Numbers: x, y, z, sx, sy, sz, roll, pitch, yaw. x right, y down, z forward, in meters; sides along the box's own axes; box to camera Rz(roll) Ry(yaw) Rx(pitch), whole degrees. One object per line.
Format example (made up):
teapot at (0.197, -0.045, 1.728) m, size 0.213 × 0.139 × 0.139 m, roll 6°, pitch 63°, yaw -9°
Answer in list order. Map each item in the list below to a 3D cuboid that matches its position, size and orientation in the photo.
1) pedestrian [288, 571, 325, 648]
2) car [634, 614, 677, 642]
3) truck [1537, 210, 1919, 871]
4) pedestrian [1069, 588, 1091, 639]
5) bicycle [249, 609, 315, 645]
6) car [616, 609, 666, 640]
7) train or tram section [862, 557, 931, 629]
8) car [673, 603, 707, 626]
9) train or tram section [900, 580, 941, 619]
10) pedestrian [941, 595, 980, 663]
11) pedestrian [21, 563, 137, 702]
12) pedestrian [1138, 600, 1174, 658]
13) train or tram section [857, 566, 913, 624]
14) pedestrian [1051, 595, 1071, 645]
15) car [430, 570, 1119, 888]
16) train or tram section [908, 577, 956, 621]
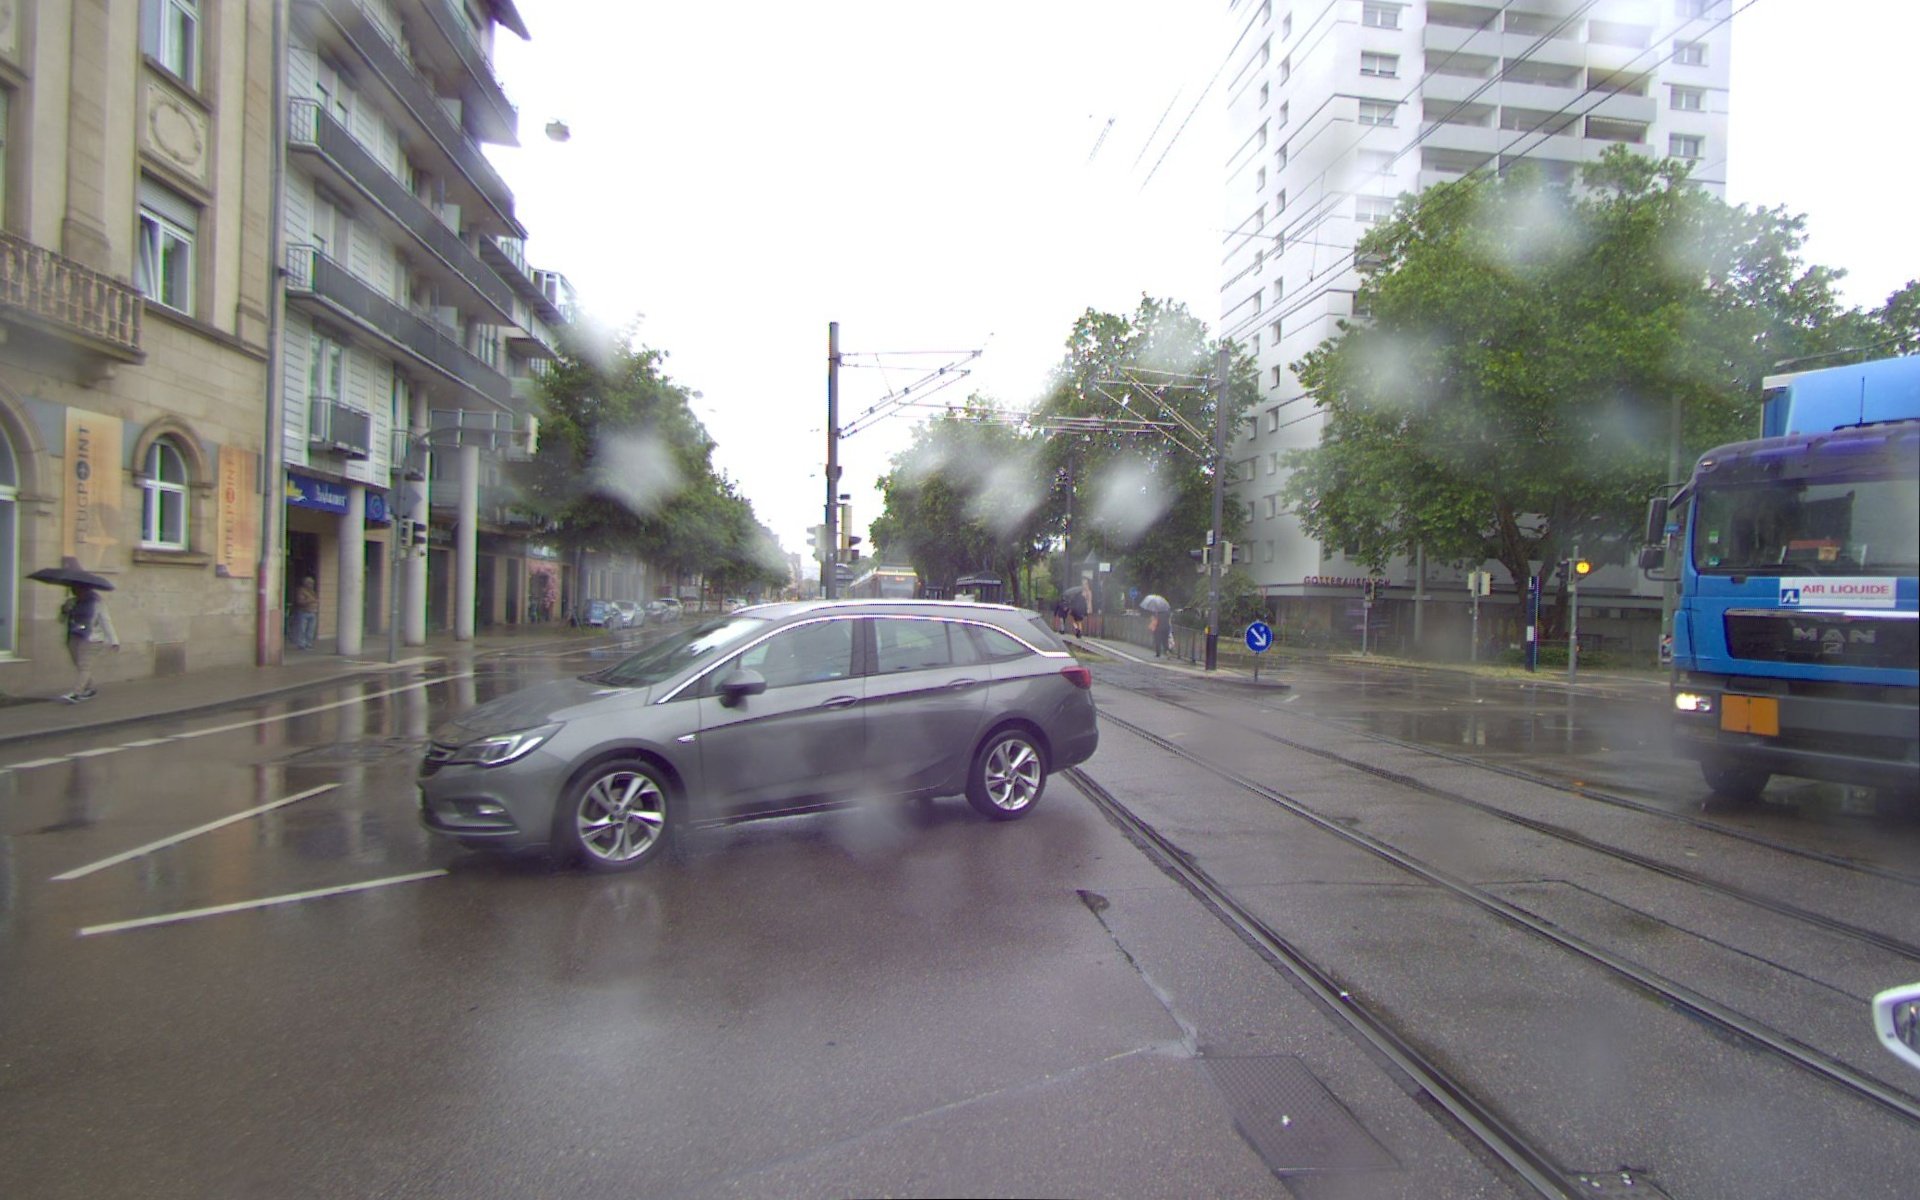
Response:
pedestrian at (-15.710, 0.233, 24.163) m, size 0.490 × 1.804 × 0.611 m, roll 2°, pitch 0°, yaw -7°
car at (-17.606, 1.591, 58.260) m, size 1.792 × 1.439 × 3.994 m, roll 2°, pitch 0°, yaw -9°
truck at (9.739, -0.217, 9.697) m, size 10.205 × 4.079 × 2.829 m, roll 2°, pitch -1°, yaw -33°
pedestrian at (4.455, 0.494, 37.307) m, size 0.628 × 1.863 × 0.678 m, roll 1°, pitch -1°, yaw -9°
bicycle at (-17.730, 0.694, 26.304) m, size 0.570 × 0.878 × 1.926 m, roll 2°, pitch 0°, yaw -6°
car at (-16.406, 1.230, 51.828) m, size 1.792 × 1.439 × 3.994 m, roll 2°, pitch 0°, yaw -9°
train or tram section at (-3.804, -0.339, 57.320) m, size 3.016 × 3.550 × 11.562 m, roll 2°, pitch 0°, yaw -8°
car at (-18.085, 0.952, 67.409) m, size 1.792 × 1.439 × 3.994 m, roll 2°, pitch 0°, yaw -9°
train or tram section at (-4.124, -0.029, 101.517) m, size 3.016 × 3.550 × 11.562 m, roll 2°, pitch 0°, yaw -8°
pedestrian at (0.002, 0.736, 25.289) m, size 0.743 × 1.670 × 0.835 m, roll 2°, pitch -1°, yaw -16°
pedestrian at (-11.390, 0.415, 13.011) m, size 0.728 × 1.680 × 0.742 m, roll 5°, pitch -1°, yaw -12°
pedestrian at (5.805, 0.854, 29.818) m, size 0.779 × 1.670 × 0.816 m, roll 1°, pitch -1°, yaw -9°
train or tram section at (-5.296, -0.301, 68.780) m, size 3.016 × 3.550 × 11.562 m, roll 2°, pitch 0°, yaw -8°
pedestrian at (4.303, 0.847, 42.724) m, size 0.626 × 2.105 × 0.701 m, roll 2°, pitch 0°, yaw -13°
car at (-1.114, 0.671, 6.843) m, size 4.293 × 1.567 × 1.716 m, roll 1°, pitch 0°, yaw -33°
train or tram section at (-2.622, -0.079, 90.058) m, size 3.016 × 3.550 × 11.562 m, roll 2°, pitch 0°, yaw -8°
